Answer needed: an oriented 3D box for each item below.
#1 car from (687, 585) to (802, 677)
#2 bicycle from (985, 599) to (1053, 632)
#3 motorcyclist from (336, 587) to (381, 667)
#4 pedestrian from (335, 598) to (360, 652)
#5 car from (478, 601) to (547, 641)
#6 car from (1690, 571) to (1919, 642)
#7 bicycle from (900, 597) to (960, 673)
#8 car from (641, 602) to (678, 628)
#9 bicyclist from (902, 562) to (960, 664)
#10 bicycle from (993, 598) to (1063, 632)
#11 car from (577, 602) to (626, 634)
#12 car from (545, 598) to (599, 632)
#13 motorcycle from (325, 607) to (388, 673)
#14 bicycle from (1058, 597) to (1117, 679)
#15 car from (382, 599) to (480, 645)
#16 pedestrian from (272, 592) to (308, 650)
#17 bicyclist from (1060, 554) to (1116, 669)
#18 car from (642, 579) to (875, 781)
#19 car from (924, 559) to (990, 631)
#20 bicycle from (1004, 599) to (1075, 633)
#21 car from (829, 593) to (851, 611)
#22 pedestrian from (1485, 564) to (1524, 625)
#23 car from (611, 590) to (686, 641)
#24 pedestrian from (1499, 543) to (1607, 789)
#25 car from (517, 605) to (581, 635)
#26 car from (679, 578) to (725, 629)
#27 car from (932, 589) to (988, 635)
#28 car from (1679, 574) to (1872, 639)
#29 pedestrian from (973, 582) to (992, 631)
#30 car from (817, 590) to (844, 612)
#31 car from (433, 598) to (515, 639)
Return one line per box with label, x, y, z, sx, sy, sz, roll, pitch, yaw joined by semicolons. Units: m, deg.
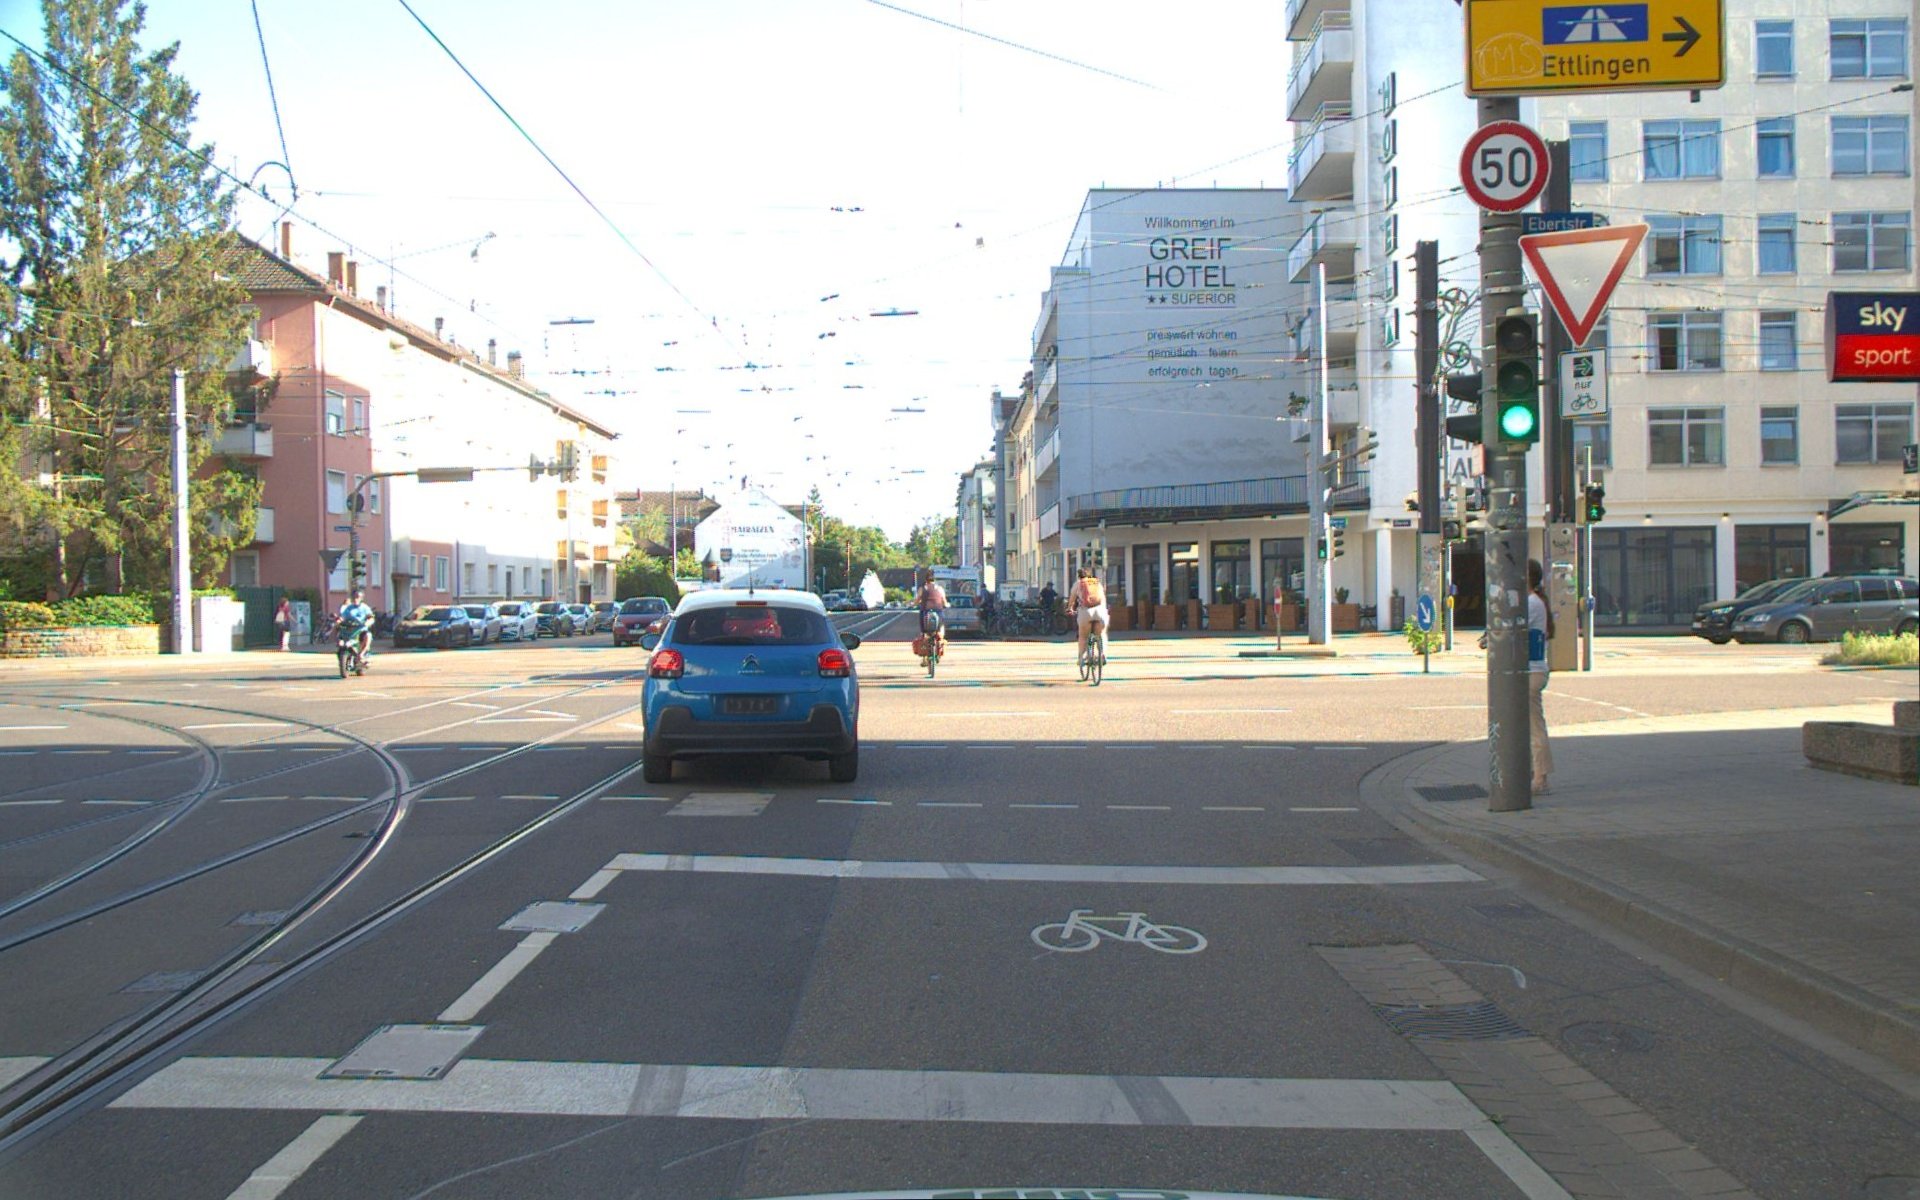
car;-3.911;0.521;30.587;1.749;1.548;3.761;1;1;-2
bicycle;1.973;0.515;55.880;2.206;1.019;0.856;-2;0;-3
motorcyclist;-11.732;0.531;32.259;0.680;1.523;0.683;-1;-2;-7
pedestrian;-18.305;0.738;49.420;0.506;1.596;0.573;1;-1;-1
car;-18.281;0.828;67.793;1.706;1.553;4.229;1;0;-1
car;19.390;0.149;38.050;4.345;1.575;1.937;0;0;3
bicycle;-0.497;0.580;28.374;0.921;1.245;2.095;1;0;1
car;-19.345;0.975;106.564;1.832;1.604;3.998;1;0;-3
bicyclist;-0.490;0.228;28.414;0.921;1.702;1.079;1;0;1
bicycle;2.237;0.502;54.767;2.206;1.019;0.856;-2;0;-3
car;-18.747;0.913;86.600;1.832;1.604;3.998;1;0;-3
car;-18.836;0.726;80.538;1.832;1.604;3.998;1;0;-3
motorcycle;-11.723;0.777;32.174;0.698;1.241;1.962;-1;-2;-7
bicycle;1.983;0.571;25.494;0.793;1.202;2.065;1;0;7
car;-18.305;0.806;57.457;2.111;1.457;4.438;1;-2;-2
pedestrian;-20.231;0.633;49.966;0.693;1.752;0.778;1;-1;45
bicyclist;1.979;0.173;25.417;0.793;1.721;0.936;1;0;7
car;-1.723;0.589;14.017;1.704;1.478;3.656;0;0;-8
car;-0.171;-0.156;60.526;2.220;2.525;5.005;0;0;-2
bicycle;2.559;0.507;53.395;2.206;1.019;0.856;-2;0;-3
car;-12.792;0.227;176.174;2.032;1.793;5.036;1;0;-1
pedestrian;16.126;-0.165;48.976;0.888;1.777;0.737;1;-1;-1
car;-9.664;0.468;51.532;1.743;1.512;3.826;-1;0;-2
pedestrian;4.200;0.461;11.698;0.528;1.652;0.733;-5;-3;24
car;-18.441;0.865;74.321;1.908;1.261;4.281;1;0;-2
car;-16.680;0.257;107.179;2.368;3.197;3.488;1;0;-1
car;-0.035;0.390;55.484;1.625;1.456;3.885;1;0;-4
car;20.324;0.164;41.336;3.950;1.603;1.795;0;0;0
pedestrian;0.782;0.222;57.299;0.600;1.683;0.671;1;-1;-3
car;-12.381;0.094;158.275;2.173;1.965;4.948;1;0;-1
car;-18.414;0.674;62.860;1.864;1.462;4.102;1;0;0
